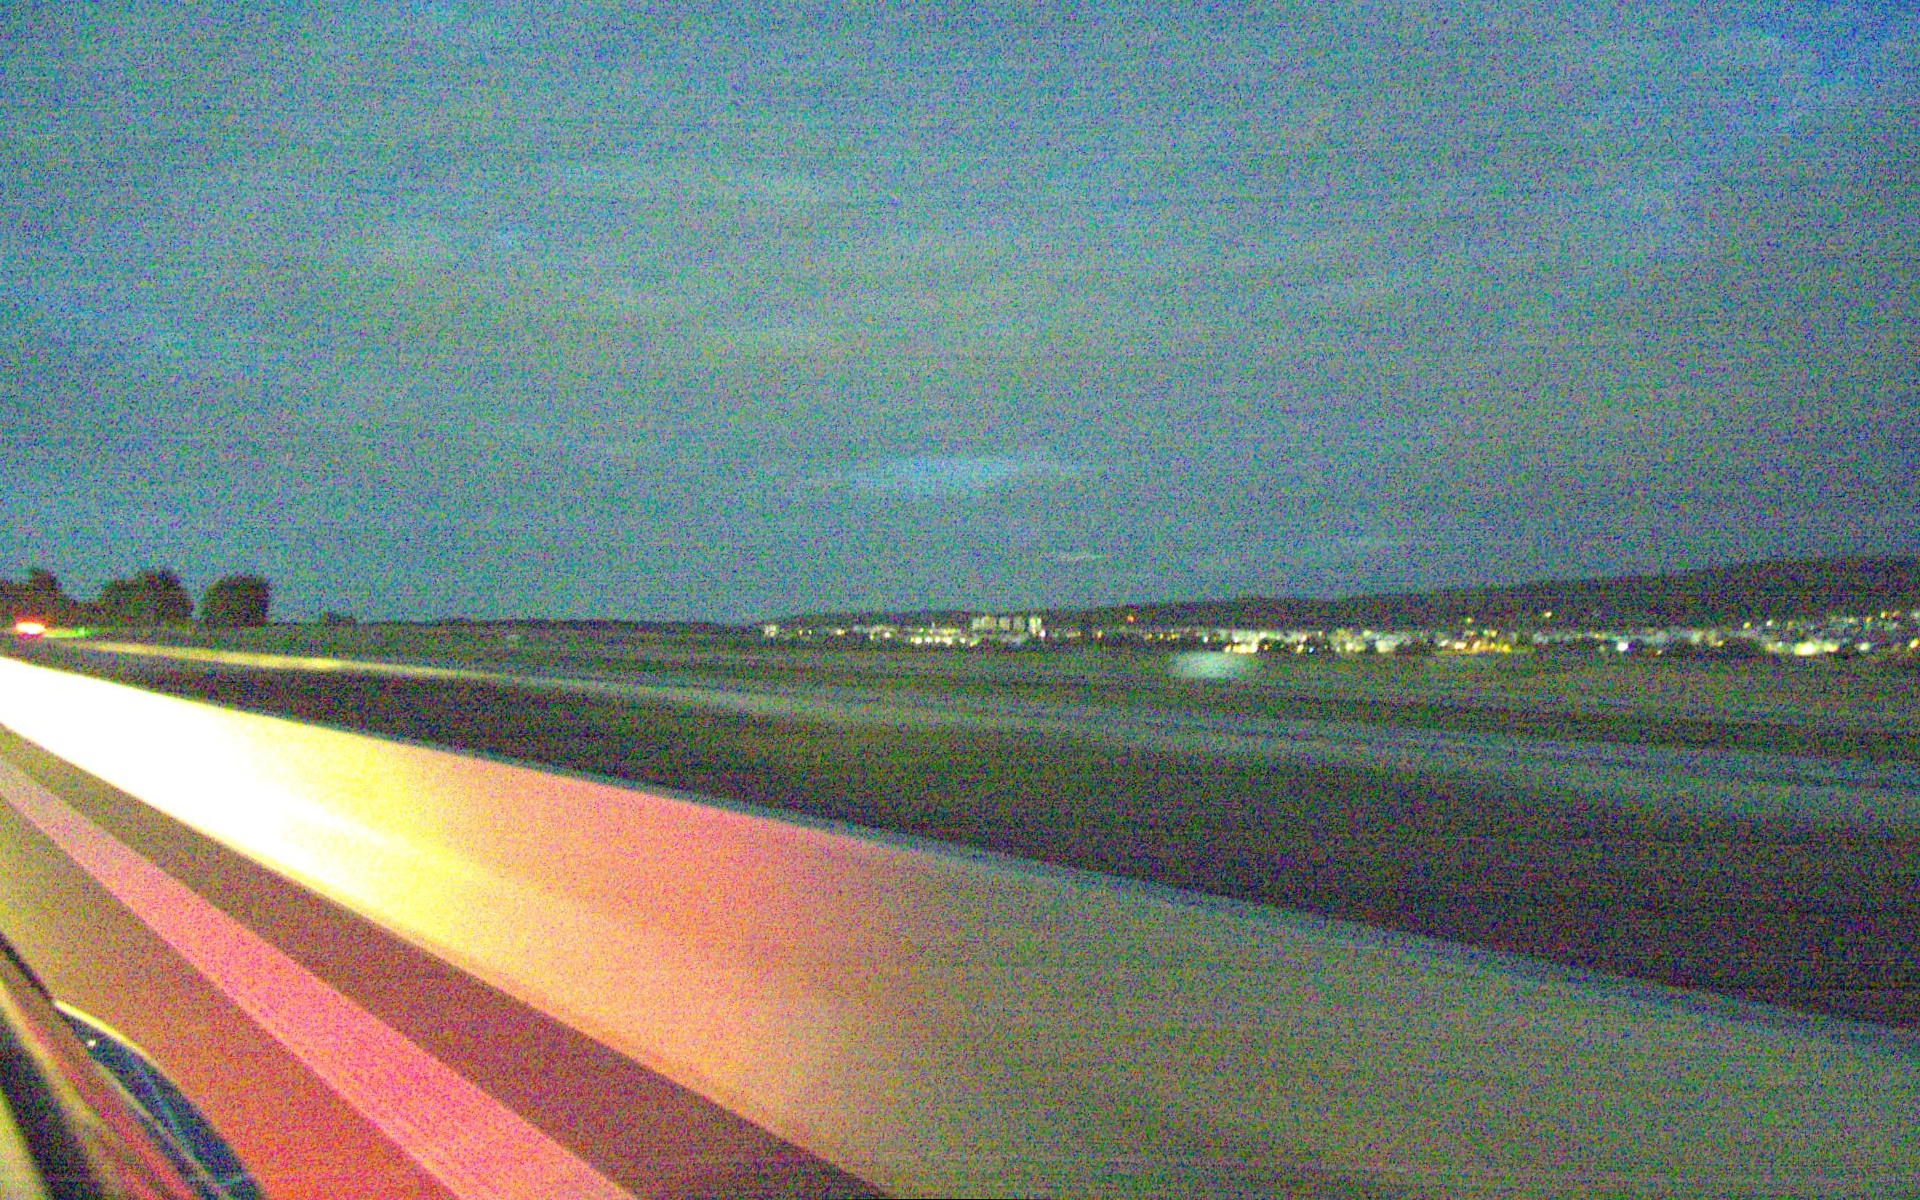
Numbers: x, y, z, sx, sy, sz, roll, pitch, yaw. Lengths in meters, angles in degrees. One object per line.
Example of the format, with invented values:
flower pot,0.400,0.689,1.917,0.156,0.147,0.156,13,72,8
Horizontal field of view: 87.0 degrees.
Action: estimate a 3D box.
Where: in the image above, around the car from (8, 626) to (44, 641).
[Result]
car,-95.710,3.386,103.681,4.978,1.430,1.973,-1,-4,39
